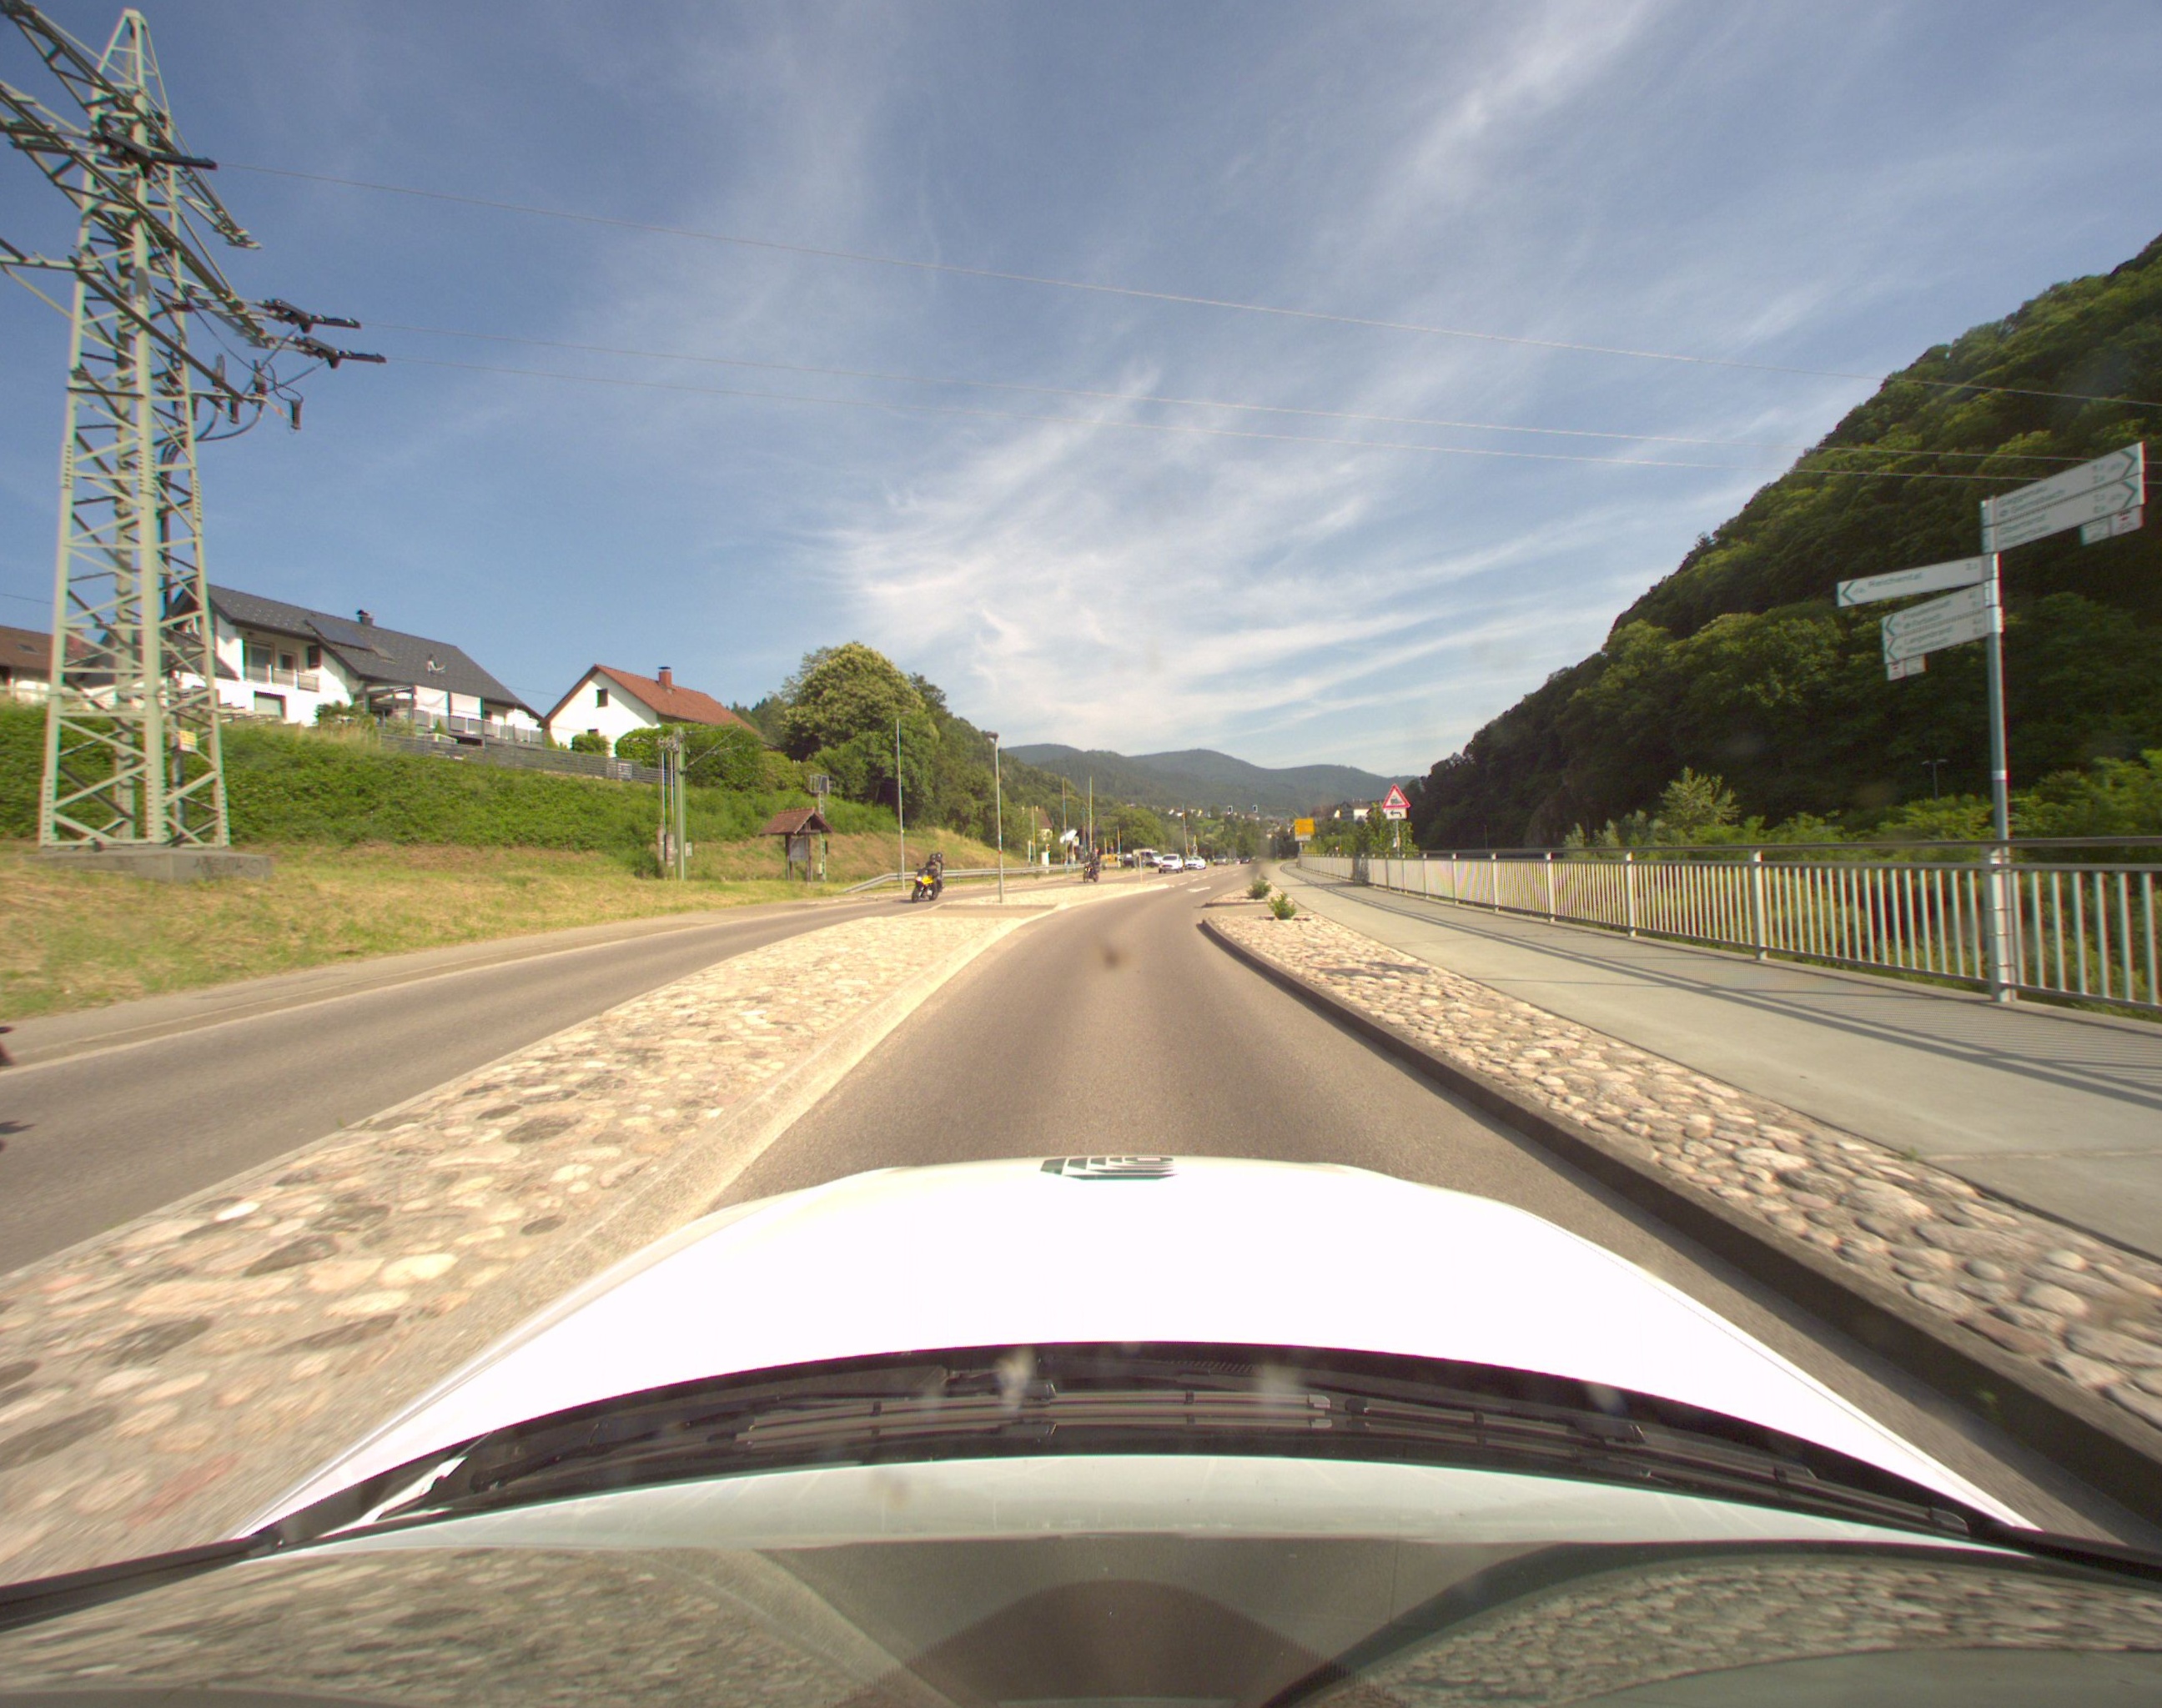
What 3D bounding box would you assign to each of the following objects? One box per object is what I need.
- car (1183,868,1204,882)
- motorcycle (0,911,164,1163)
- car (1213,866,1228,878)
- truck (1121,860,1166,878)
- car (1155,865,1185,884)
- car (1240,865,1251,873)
[{"bbox_3d":[12.095,2.275,87.365,1.770,1.400,4.843,-1,-2,12],"label":"car"},{"bbox_3d":[-5.651,0.906,3.546,0.894,1.184,2.299,-1,-1,-7],"label":"motorcycle"},{"bbox_3d":[19.910,2.576,116.451,1.745,1.521,4.220,-1,-3,15],"label":"car"},{"bbox_3d":[8.004,1.940,104.471,2.011,2.266,5.929,-1,0,-43],"label":"truck"},{"bbox_3d":[7.767,1.765,70.532,1.750,1.560,4.018,-1,-2,18],"label":"car"},{"bbox_3d":[30.884,2.830,153.066,1.760,1.417,3.799,-3,-1,14],"label":"car"}]
